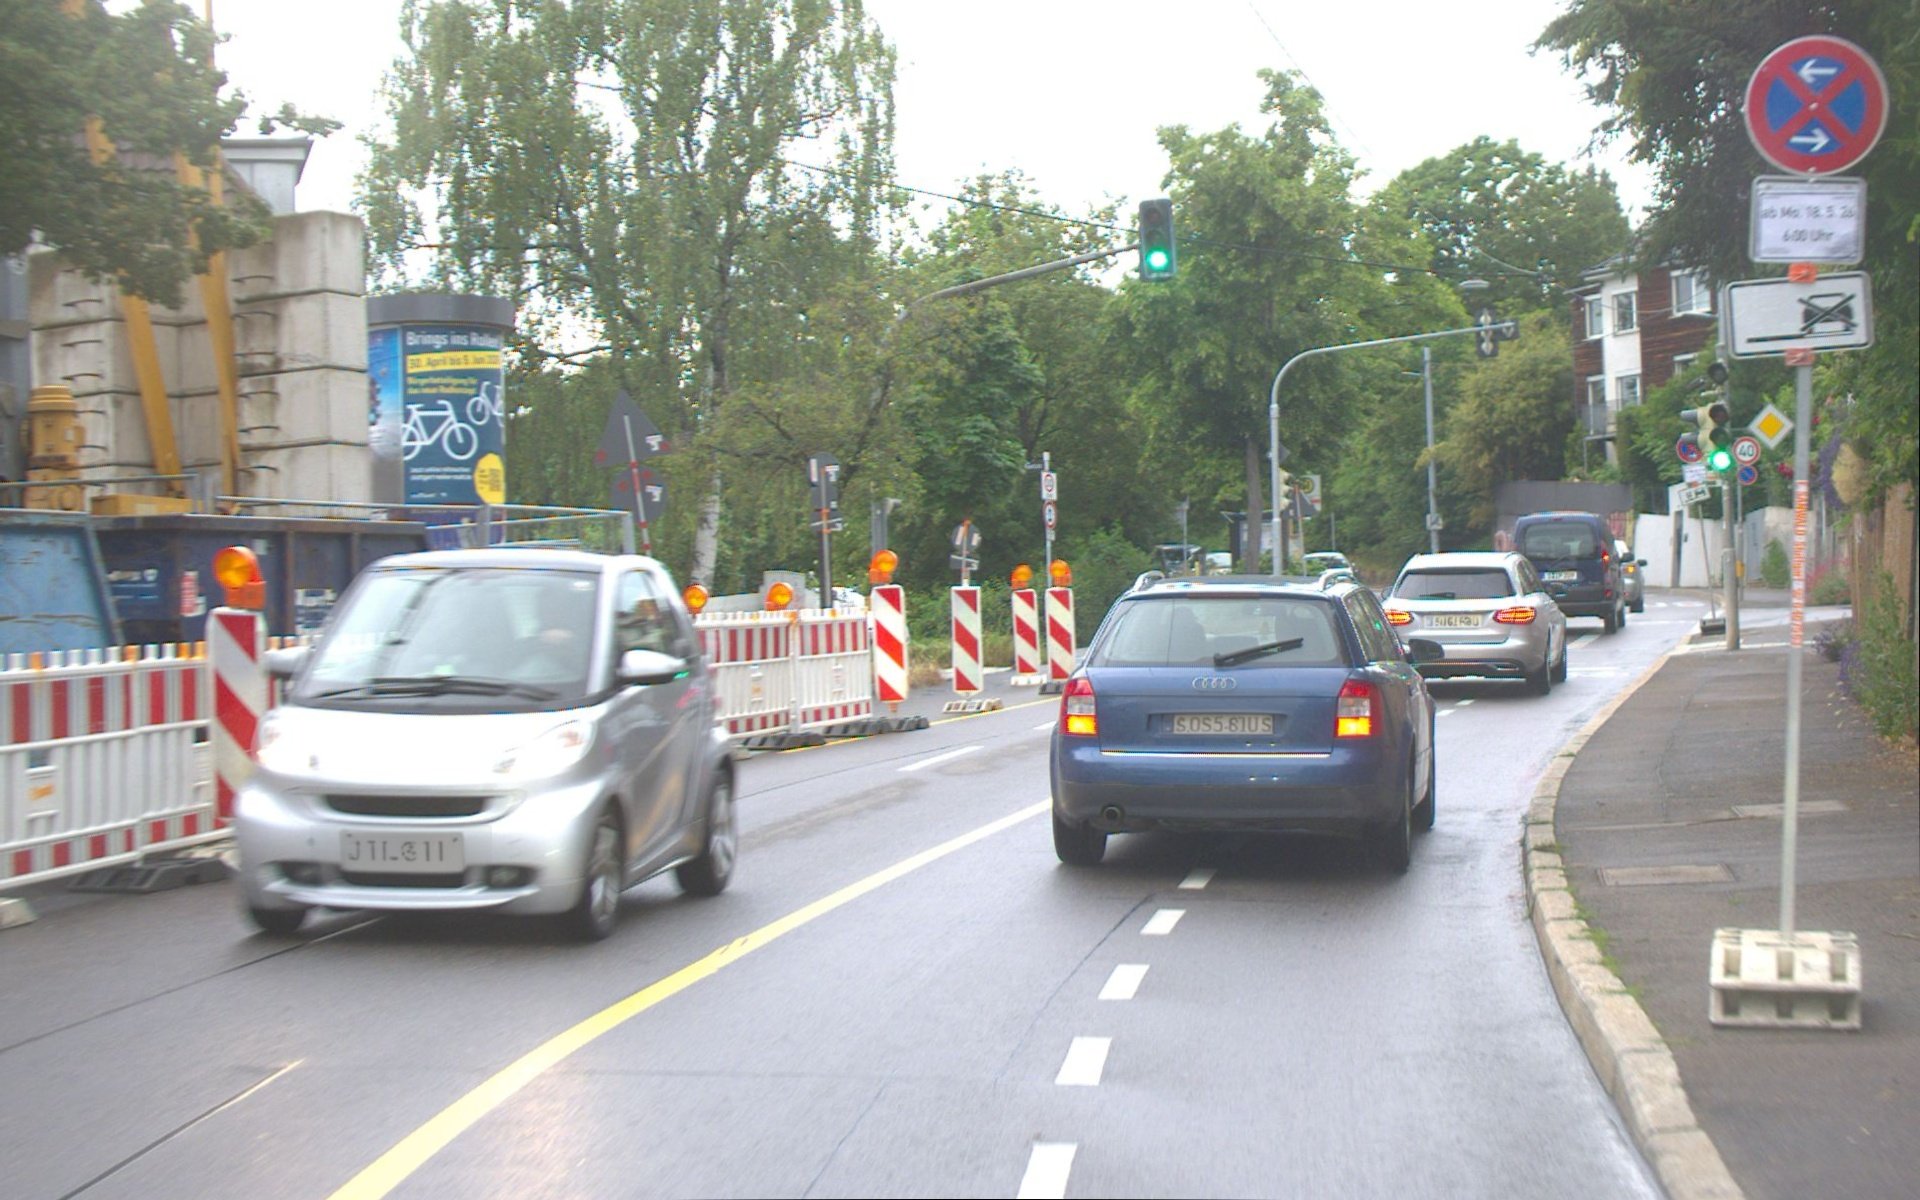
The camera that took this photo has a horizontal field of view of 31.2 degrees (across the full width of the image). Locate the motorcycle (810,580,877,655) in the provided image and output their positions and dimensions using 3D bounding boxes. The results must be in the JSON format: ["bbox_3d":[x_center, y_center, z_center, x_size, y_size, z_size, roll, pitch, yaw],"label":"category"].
[{"bbox_3d":[-1.848,0.270,54.679,0.591,1.127,1.842,-3,0,11],"label":"motorcycle"}]

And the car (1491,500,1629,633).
[{"bbox_3d":[9.270,-0.536,52.888,1.731,1.888,4.053,-3,1,14],"label":"car"}]

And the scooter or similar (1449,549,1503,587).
[{"bbox_3d":[19.044,-1.178,126.906,1.834,1.310,0.600,3,-2,2],"label":"scooter or similar"}]

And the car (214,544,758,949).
[{"bbox_3d":[-1.907,0.543,14.582,1.456,1.521,2.922,1,0,10],"label":"car"}]

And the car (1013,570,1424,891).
[{"bbox_3d":[1.444,0.578,17.760,1.778,1.434,3.999,1,1,9],"label":"car"}]

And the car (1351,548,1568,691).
[{"bbox_3d":[5.327,0.195,36.254,1.910,1.384,4.348,1,0,13],"label":"car"}]

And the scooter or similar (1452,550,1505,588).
[{"bbox_3d":[19.239,-1.139,127.667,1.834,1.310,0.600,3,-2,2],"label":"scooter or similar"}]

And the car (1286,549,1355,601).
[{"bbox_3d":[10.741,-0.749,102.714,1.674,1.422,4.000,-3,1,1],"label":"car"}]
